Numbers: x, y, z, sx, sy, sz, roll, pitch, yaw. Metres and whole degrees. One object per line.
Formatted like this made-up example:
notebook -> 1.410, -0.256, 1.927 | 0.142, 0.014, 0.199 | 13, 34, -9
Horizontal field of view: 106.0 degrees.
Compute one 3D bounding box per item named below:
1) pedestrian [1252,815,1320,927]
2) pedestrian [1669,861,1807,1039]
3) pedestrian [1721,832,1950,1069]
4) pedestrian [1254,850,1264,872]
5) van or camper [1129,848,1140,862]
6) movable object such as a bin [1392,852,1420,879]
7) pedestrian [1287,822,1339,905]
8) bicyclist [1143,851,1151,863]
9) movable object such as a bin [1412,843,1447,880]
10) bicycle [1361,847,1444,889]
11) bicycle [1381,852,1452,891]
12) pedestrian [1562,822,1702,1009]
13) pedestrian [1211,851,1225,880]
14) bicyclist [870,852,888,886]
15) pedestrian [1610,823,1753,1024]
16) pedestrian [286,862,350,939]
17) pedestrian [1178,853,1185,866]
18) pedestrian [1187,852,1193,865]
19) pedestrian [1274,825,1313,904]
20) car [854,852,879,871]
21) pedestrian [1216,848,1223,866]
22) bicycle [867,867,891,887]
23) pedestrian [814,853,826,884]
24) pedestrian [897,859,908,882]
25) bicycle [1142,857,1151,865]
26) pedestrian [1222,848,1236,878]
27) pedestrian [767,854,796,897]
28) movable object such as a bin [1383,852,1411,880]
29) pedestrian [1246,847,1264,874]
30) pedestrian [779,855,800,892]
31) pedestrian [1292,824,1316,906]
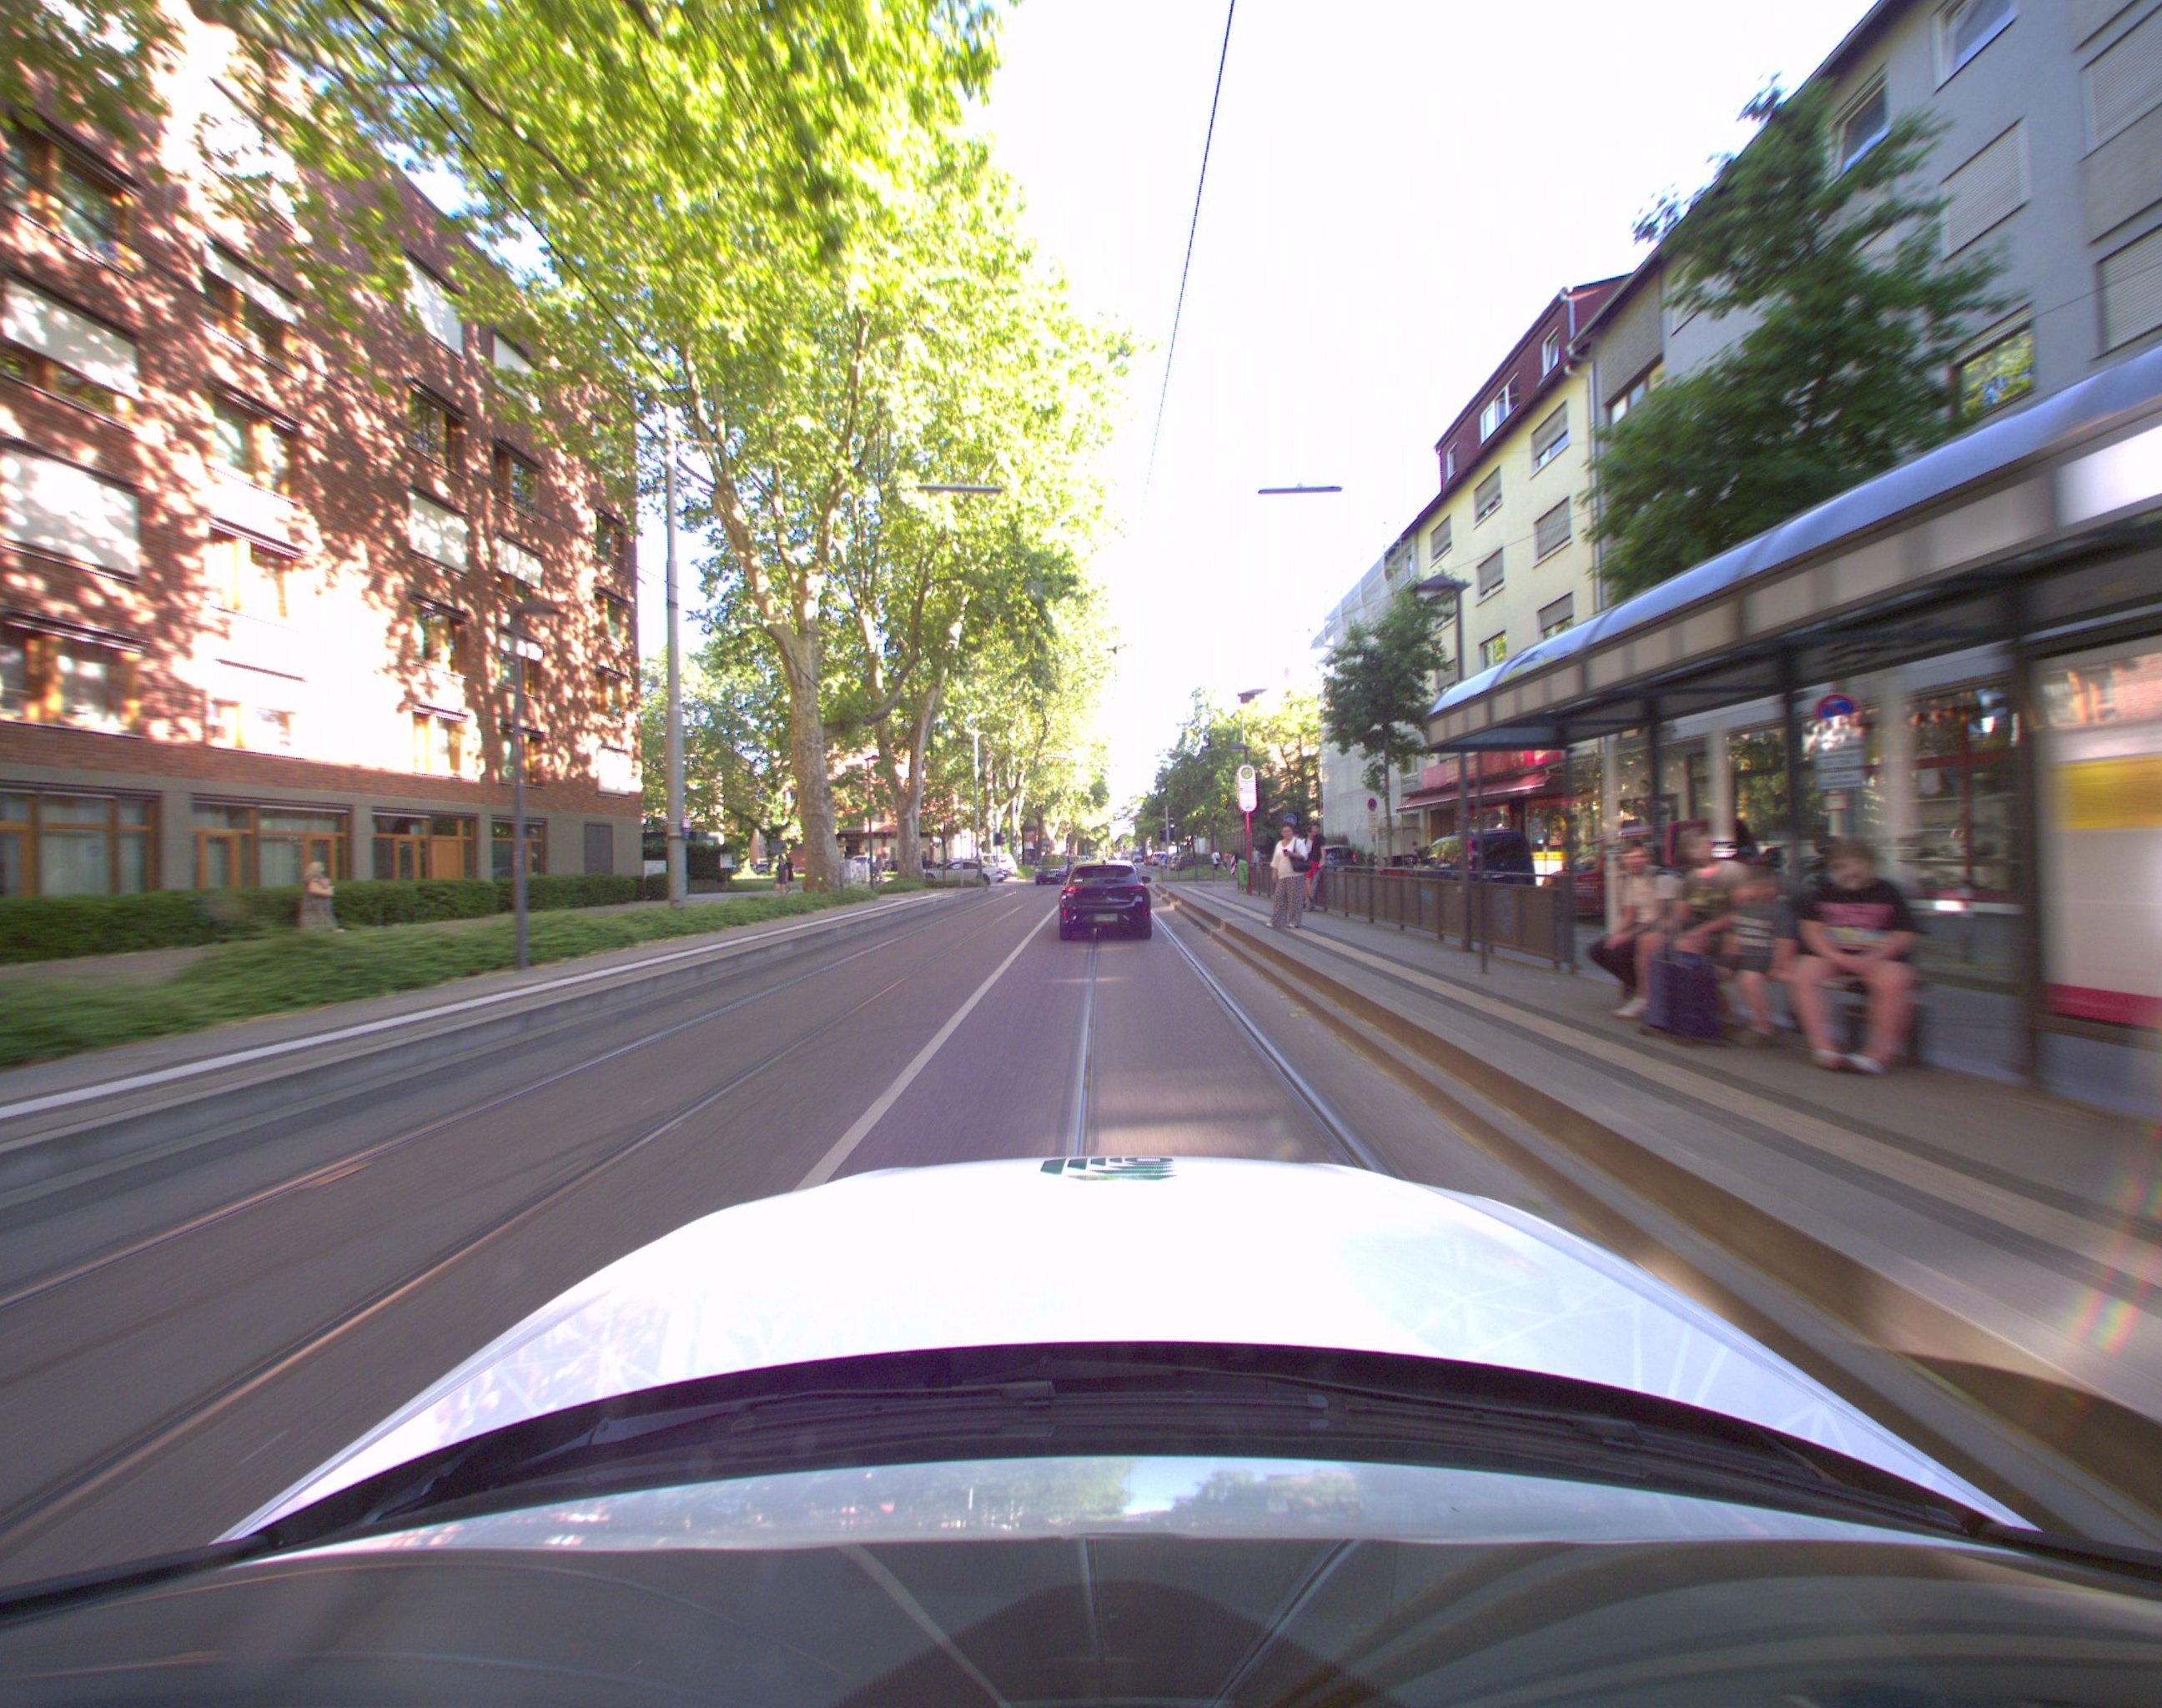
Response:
pedestrian -> 3.254, 0.257, 12.975 | 0.642, 1.713, 0.828 | 0, -1, -33
pedestrian -> 4.097, 0.571, 5.097 | 0.520, 1.055, 0.424 | 0, -1, -9
pedestrian -> 4.154, 0.492, 4.526 | 0.678, 1.205, 0.647 | 0, -1, -9
pedestrian -> 14.049, 0.530, 64.166 | 0.617, 1.726, 0.552 | 0, -1, -10
van or camper -> 12.394, 0.264, 188.443 | 2.246, 3.216, 5.532 | -2, -1, 1
movable object such as a bin -> 14.006, 0.498, 35.076 | 0.878, 1.110, 0.697 | -3, -1, -1
pedestrian -> 4.857, 0.188, 17.087 | 0.843, 1.701, 0.692 | 0, -1, -5
bicyclist -> 8.560, 0.424, 105.828 | 0.955, 1.499, 1.094 | 0, -1, 0
movable object such as a bin -> 13.828, 0.288, 32.327 | 0.996, 1.397, 0.824 | -3, -1, -1
bicycle -> 10.212, 0.434, 25.907 | 2.196, 1.209, 1.030 | -3, -1, 1
bicycle -> 11.050, 0.599, 26.911 | 0.686, 1.209, 2.192 | -3, -1, -26
pedestrian -> 4.094, 0.435, 6.073 | 0.719, 1.326, 0.492 | 0, -1, -10
pedestrian -> 8.587, 0.714, 51.131 | 0.721, 1.793, 0.856 | -3, -1, 12
bicyclist -> -10.777, 0.793, 43.516 | 0.697, 1.788, 0.839 | 0, -1, 3
pedestrian -> 4.104, 0.452, 5.590 | 0.584, 1.305, 0.525 | 0, -1, -9
pedestrian -> -15.968, 0.957, 17.060 | 0.661, 1.573, 0.716 | 0, -1, 1
pedestrian -> 12.803, 0.709, 103.713 | 0.723, 1.693, 0.957 | 0, -1, 1
pedestrian -> 13.830, 0.566, 103.665 | 0.723, 1.709, 0.857 | 0, -1, 3
pedestrian -> 4.836, 0.240, 18.552 | 0.686, 1.755, 0.579 | 0, -1, -5
car -> -23.298, 0.817, 88.752 | 1.992, 2.003, 4.907 | 0, 0, -7
pedestrian -> 13.736, 0.293, 80.771 | 0.597, 1.793, 0.728 | 0, -1, -1
bicycle -> -10.769, 1.224, 43.520 | 0.712, 1.063, 1.841 | 0, -1, 3
pedestrian -> -14.886, 0.817, 46.405 | 0.535, 1.705, 0.586 | 0, -1, -30
pedestrian -> -14.019, 1.300, 64.051 | 0.640, 1.809, 0.753 | 0, -1, 7
bicycle -> 8.555, 0.921, 105.837 | 0.964, 0.999, 2.583 | 0, 0, 0
pedestrian -> 9.283, 0.567, 51.108 | 0.721, 1.793, 0.971 | -3, -1, 12
pedestrian -> -11.712, 0.829, 31.896 | 0.735, 1.672, 0.969 | 0, -1, 3
movable object such as a bin -> 13.389, 0.498, 34.539 | 0.878, 1.110, 0.697 | -3, -1, -1
pedestrian -> 12.098, 0.457, 56.540 | 0.869, 1.885, 0.992 | 0, -1, -16
pedestrian -> -13.509, 0.898, 37.746 | 0.707, 1.673, 0.779 | 0, -1, 1
pedestrian -> 4.902, 0.235, 17.890 | 0.489, 1.770, 0.706 | -1, -1, 16
